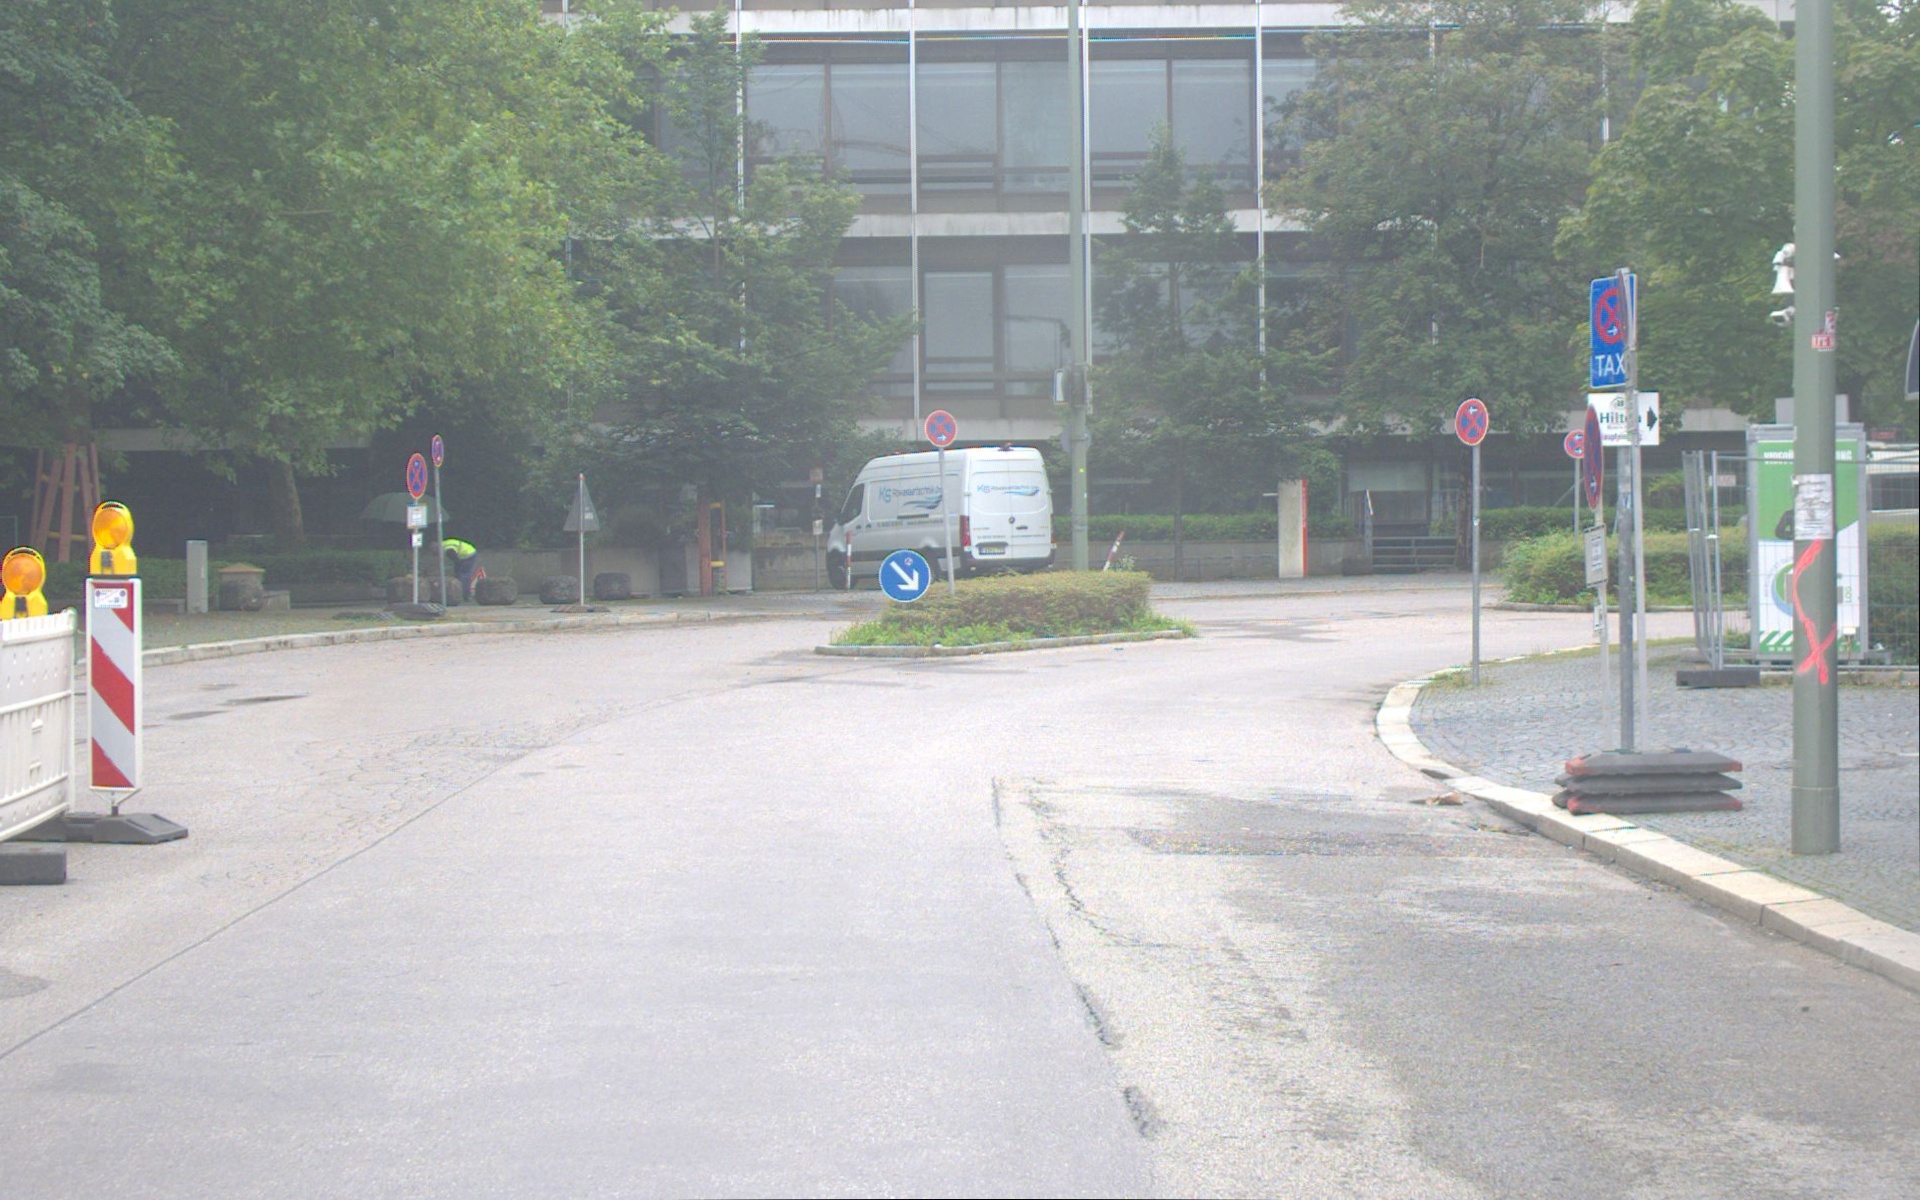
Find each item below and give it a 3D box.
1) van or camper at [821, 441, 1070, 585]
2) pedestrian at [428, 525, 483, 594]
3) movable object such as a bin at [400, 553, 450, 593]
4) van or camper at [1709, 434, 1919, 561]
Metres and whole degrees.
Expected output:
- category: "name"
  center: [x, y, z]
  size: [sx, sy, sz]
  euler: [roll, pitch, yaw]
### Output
- category: "van or camper"
  center: [-0.374, -1.613, 66.512]
  size: [2.155, 2.572, 6.540]
  euler: [-1, 0, -26]
- category: "pedestrian"
  center: [-9.435, -0.759, 64.332]
  size: [0.926, 1.273, 0.542]
  euler: [0, 1, 2]
- category: "movable object such as a bin"
  center: [-10.001, -0.509, 64.298]
  size: [0.834, 0.751, 0.572]
  euler: [0, 1, 2]
- category: "van or camper"
  center: [17.306, -1.914, 63.624]
  size: [6.396, 2.273, 2.256]
  euler: [-1, 1, -14]
